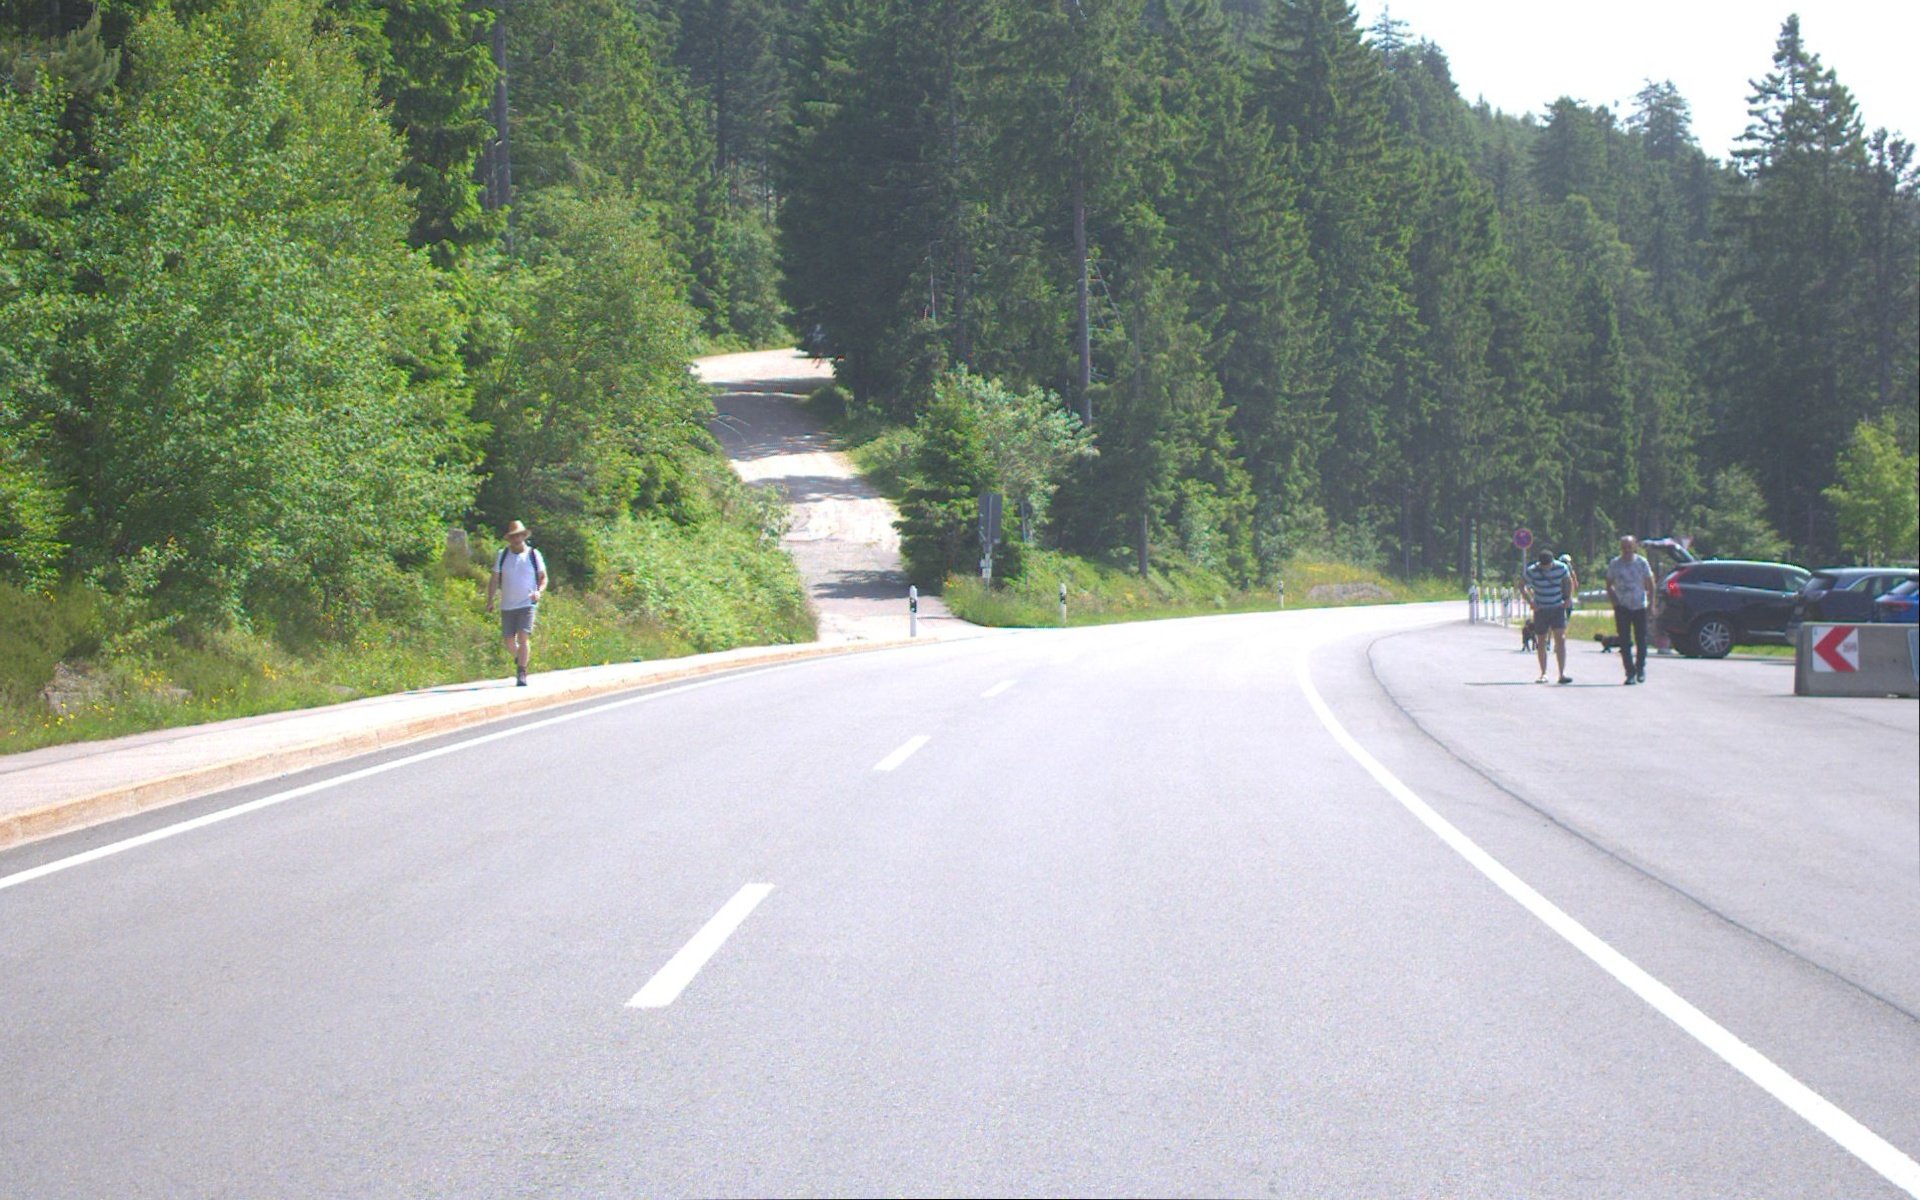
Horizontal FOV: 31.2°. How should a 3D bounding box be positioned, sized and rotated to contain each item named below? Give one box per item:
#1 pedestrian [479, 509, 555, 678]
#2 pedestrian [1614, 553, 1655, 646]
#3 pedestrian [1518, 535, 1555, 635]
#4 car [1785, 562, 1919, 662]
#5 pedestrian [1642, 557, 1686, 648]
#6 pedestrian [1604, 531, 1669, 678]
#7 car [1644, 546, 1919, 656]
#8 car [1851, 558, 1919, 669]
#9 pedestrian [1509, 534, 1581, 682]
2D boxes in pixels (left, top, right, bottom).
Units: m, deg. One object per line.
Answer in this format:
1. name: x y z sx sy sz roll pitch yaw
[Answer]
1. pedestrian: -4.628 -0.069 35.919 0.682 1.740 0.825 1 1 0
2. pedestrian: 12.166 -0.012 61.975 0.653 1.654 0.687 0 2 17
3. pedestrian: 10.286 -0.277 61.363 0.617 1.769 0.723 1 1 11
4. car: 15.338 0.199 55.209 3.751 1.562 1.600 1 1 -2
5. pedestrian: 12.473 0.048 60.890 0.617 1.582 0.734 0 2 23
6. pedestrian: 8.066 0.043 40.956 0.665 1.735 0.893 0 1 17
7. car: 13.934 0.028 58.355 4.264 1.788 1.892 1 -1 1
8. car: 15.707 0.211 51.932 3.987 1.530 1.807 1 4 0
9. pedestrian: 7.029 0.083 41.311 0.754 1.754 0.775 0 1 17
